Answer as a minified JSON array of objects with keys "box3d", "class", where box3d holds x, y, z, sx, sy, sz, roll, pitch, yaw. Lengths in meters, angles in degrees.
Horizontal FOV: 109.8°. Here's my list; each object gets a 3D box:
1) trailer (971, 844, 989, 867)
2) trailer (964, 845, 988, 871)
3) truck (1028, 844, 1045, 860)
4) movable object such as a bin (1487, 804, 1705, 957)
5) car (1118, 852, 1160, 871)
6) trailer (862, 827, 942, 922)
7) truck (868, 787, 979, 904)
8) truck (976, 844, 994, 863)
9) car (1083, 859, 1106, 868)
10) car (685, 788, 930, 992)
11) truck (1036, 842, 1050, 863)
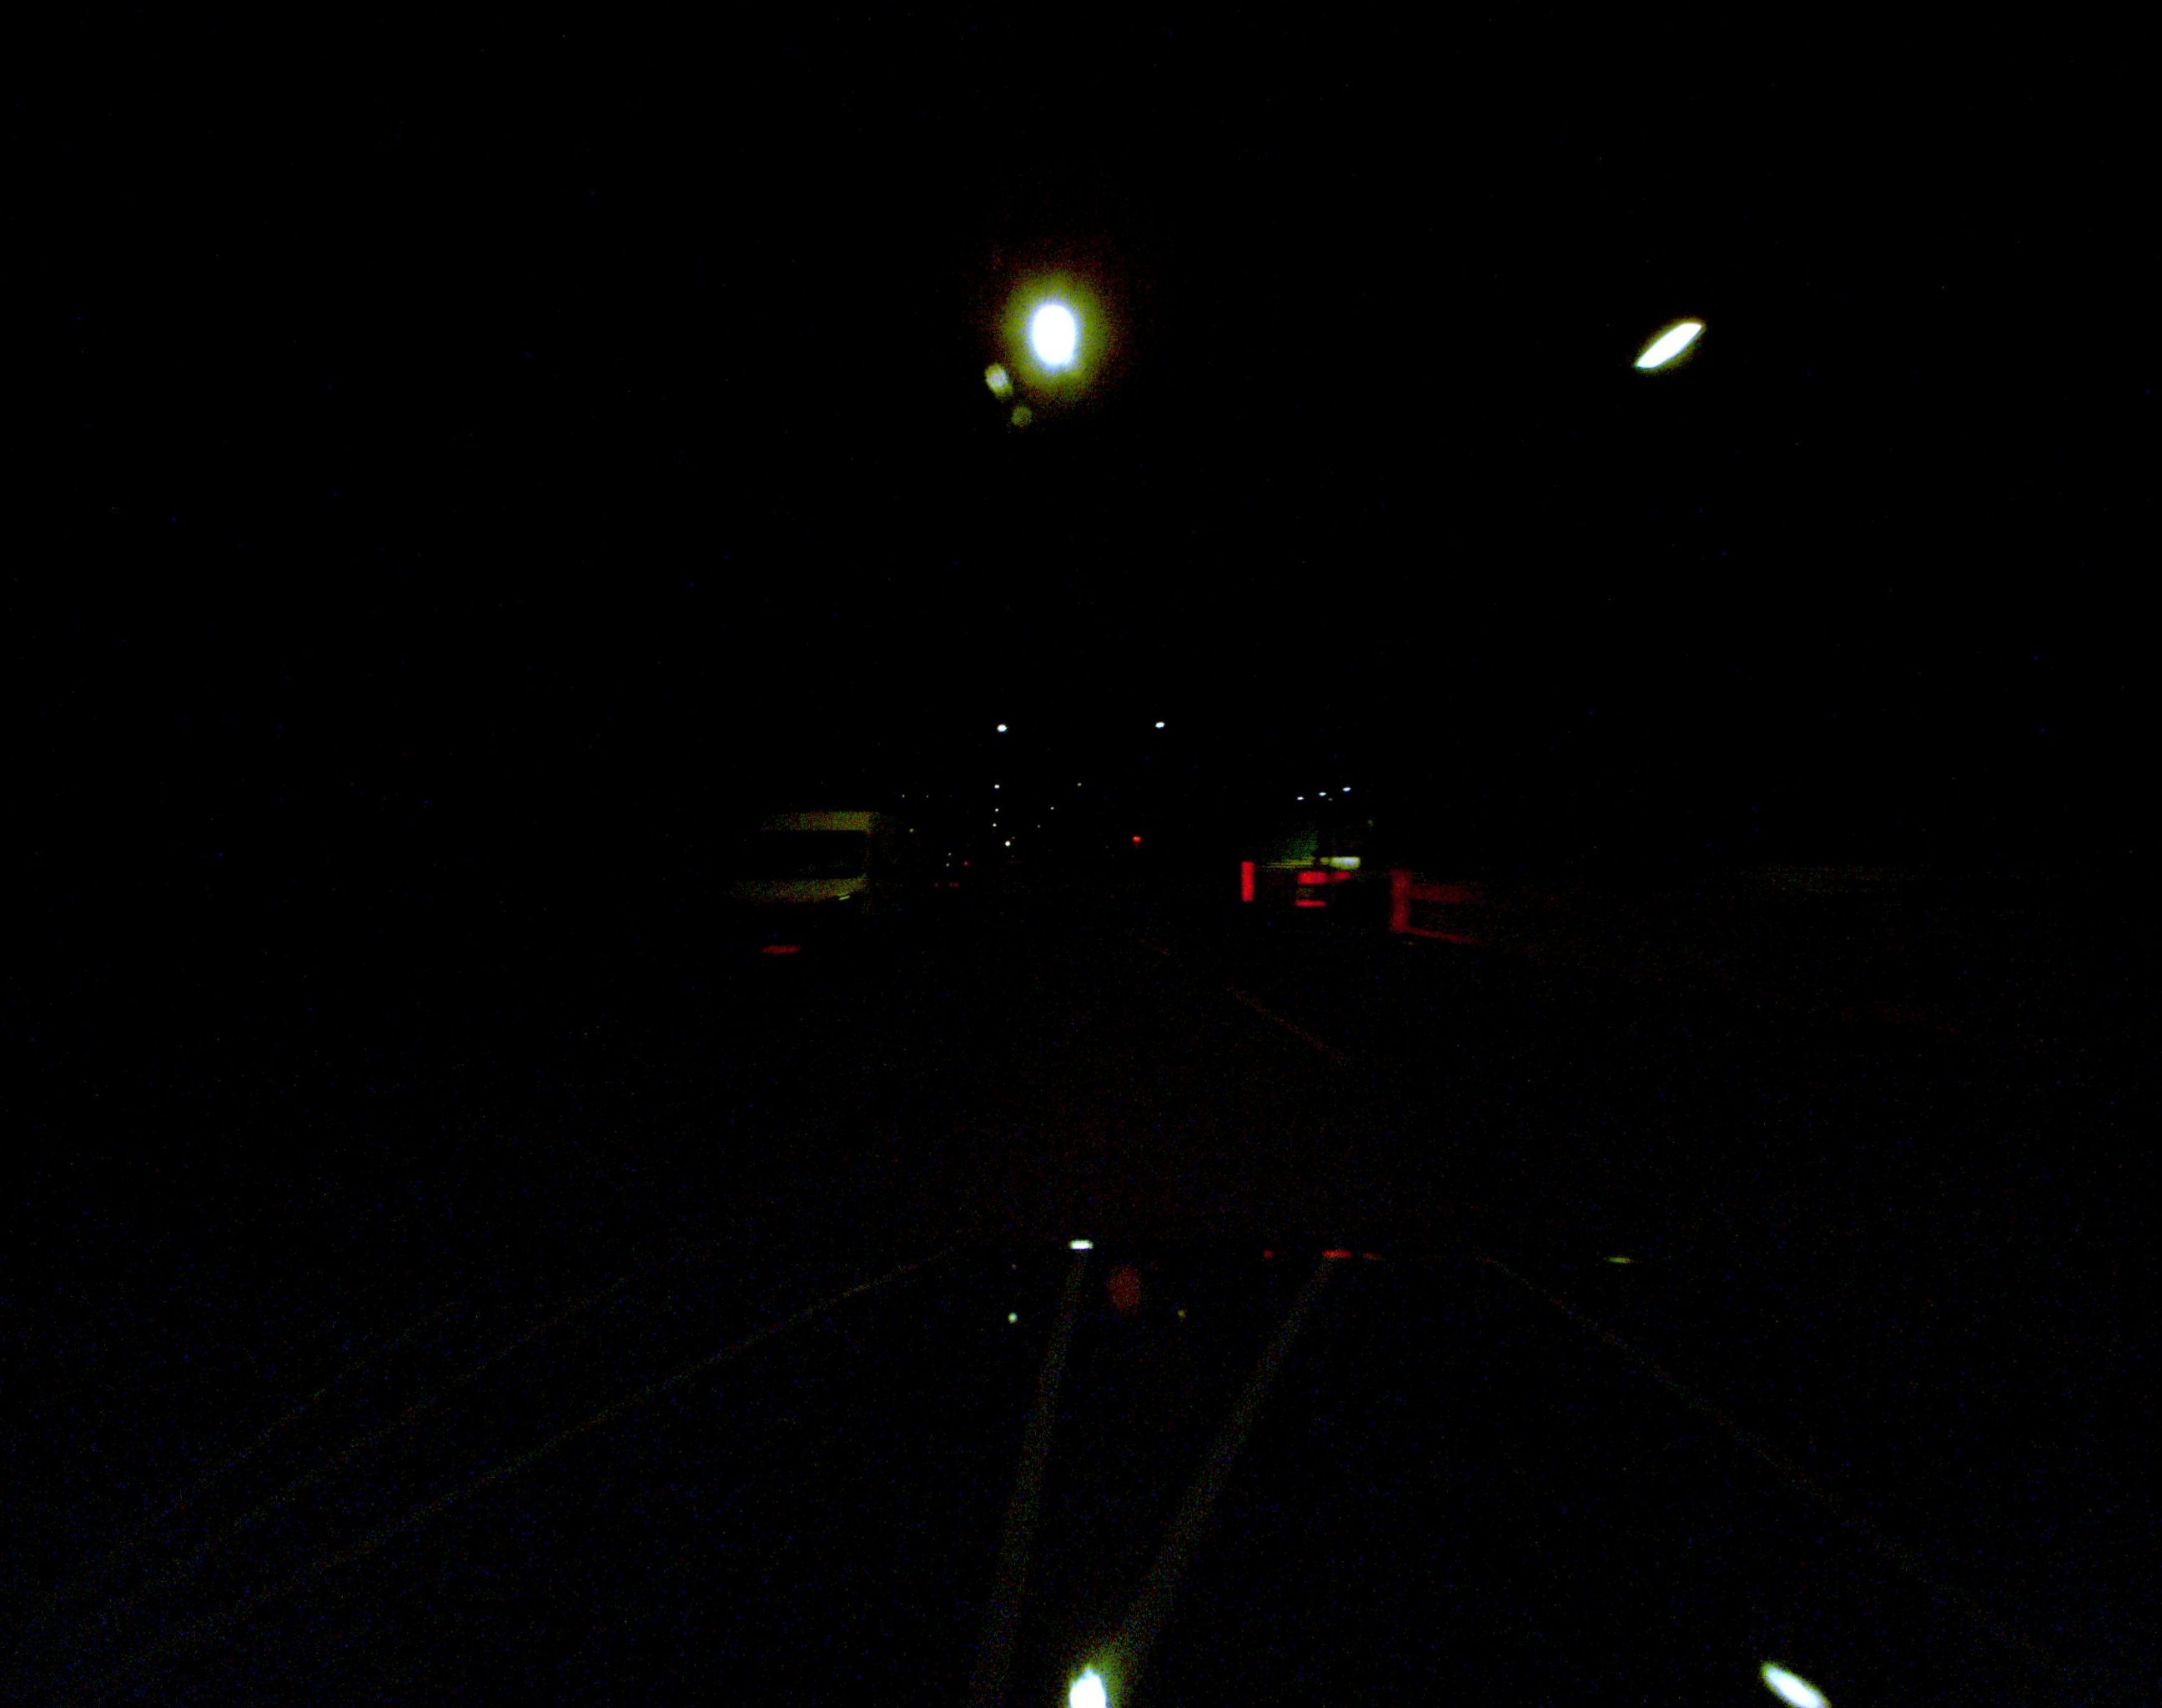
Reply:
[{"box3d":[-15.042,0.213,113.439,2.406,3.306,4.359,-2,0,-9],"class":"trailer"},{"box3d":[-10.862,0.413,78.699,1.999,2.635,3.999,-2,0,-4],"class":"trailer"},{"box3d":[-10.906,-0.381,186.525,2.831,3.610,10.392,-2,0,-10],"class":"truck"},{"box3d":[9.182,0.412,13.741,1.555,2.453,2.833,-1,1,-27],"class":"movable object such as a bin"},{"box3d":[6.606,0.864,86.460,4.446,1.960,1.999,-2,0,-7],"class":"car"},{"box3d":[-5.204,0.561,22.699,1.637,2.459,5.024,-2,0,-6],"class":"trailer"},{"box3d":[-5.942,-0.320,30.342,3.334,3.846,9.321,-2,1,-7],"class":"truck"},{"box3d":[-20.388,-0.108,162.508,2.516,3.815,12.655,-2,0,-2],"class":"truck"},{"box3d":[2.597,1.823,145.073,4.000,1.455,1.805,-5,1,-9],"class":"car"},{"box3d":[-4.089,0.458,12.828,2.114,2.501,6.369,-2,0,-4],"class":"car"},{"box3d":[-7.977,-0.327,158.552,2.645,4.290,12.816,0,1,-4],"class":"truck"}]
